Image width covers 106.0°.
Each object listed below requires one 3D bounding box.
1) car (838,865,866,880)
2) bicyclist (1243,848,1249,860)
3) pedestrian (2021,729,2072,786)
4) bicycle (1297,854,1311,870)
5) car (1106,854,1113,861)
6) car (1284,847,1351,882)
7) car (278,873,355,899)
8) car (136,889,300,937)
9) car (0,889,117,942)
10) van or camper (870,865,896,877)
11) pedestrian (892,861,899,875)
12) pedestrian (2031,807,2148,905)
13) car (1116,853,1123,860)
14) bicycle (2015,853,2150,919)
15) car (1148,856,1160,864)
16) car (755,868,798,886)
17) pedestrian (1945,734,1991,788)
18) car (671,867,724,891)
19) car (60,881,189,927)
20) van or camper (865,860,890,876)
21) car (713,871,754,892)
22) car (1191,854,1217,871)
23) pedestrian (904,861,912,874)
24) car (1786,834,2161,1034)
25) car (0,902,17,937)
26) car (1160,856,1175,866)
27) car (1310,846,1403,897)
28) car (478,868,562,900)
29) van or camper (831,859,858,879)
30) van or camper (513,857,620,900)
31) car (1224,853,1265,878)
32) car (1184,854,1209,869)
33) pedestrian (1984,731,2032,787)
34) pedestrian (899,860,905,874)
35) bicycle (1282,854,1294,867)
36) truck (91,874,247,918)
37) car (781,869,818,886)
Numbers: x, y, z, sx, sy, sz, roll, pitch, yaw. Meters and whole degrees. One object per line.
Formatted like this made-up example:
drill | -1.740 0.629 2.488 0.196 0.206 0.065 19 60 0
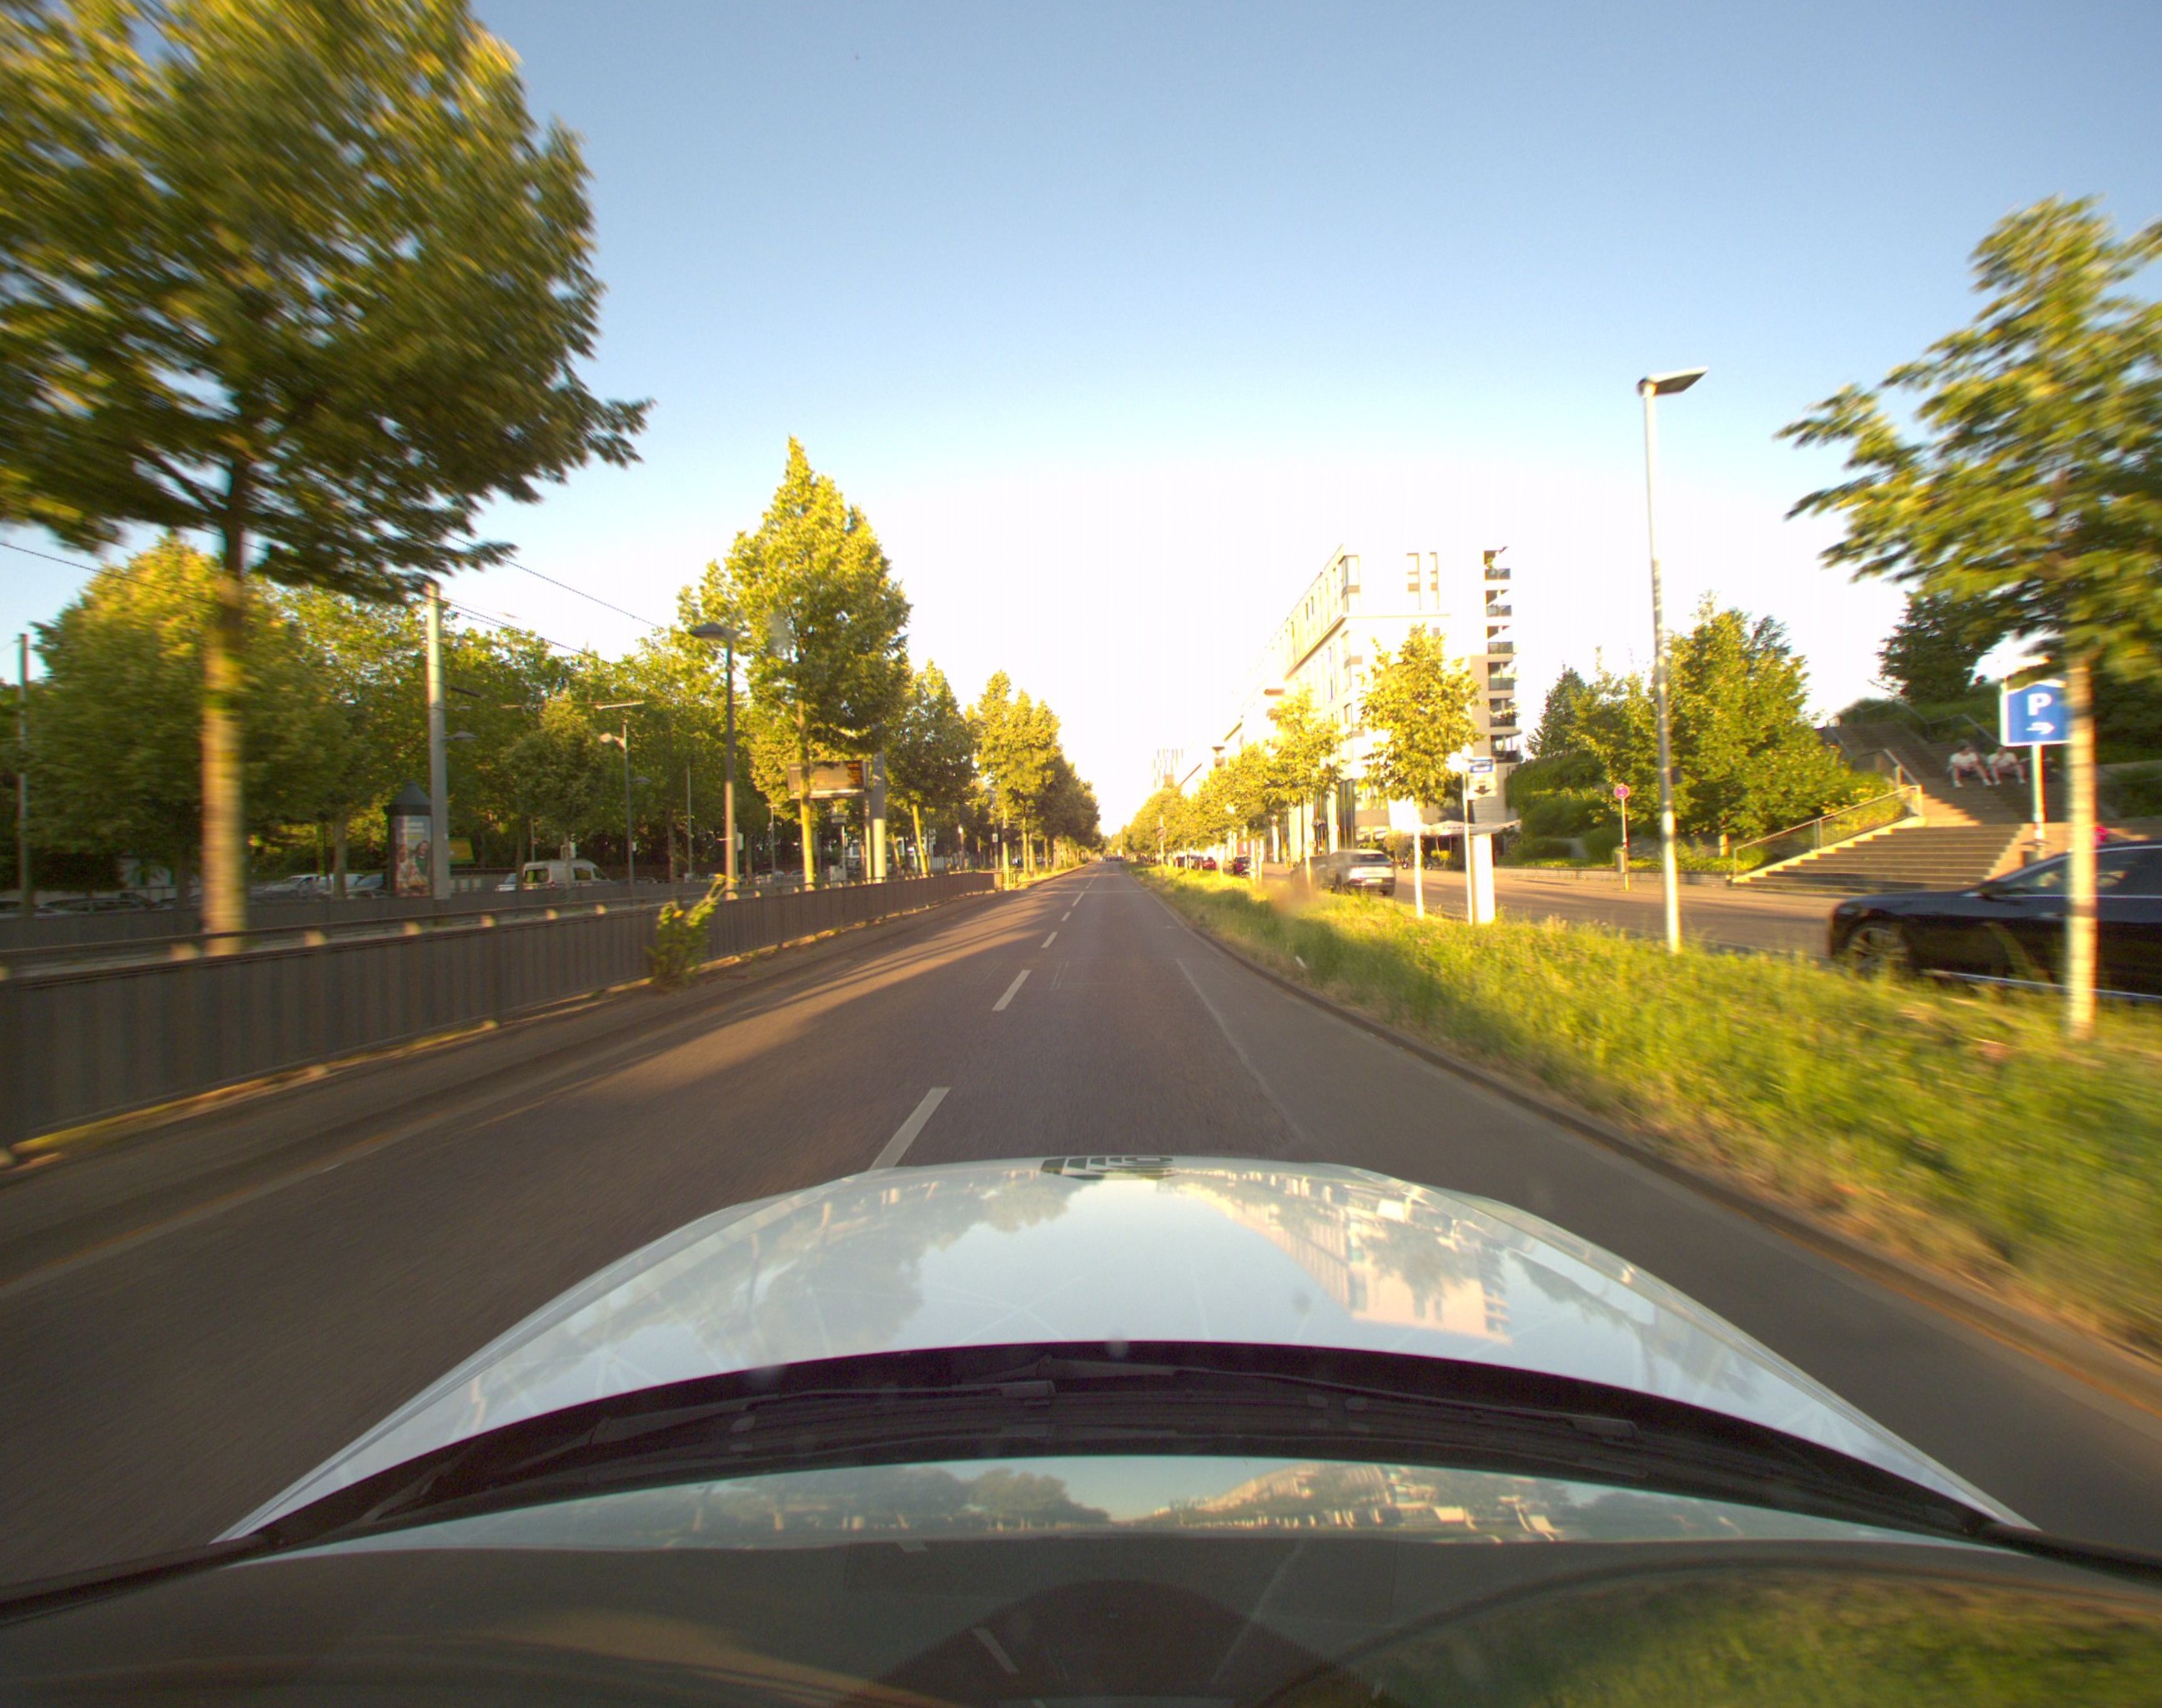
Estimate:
car | -27.455 2.206 97.756 1.793 1.560 3.845 -2 -1 7
bicyclist | 21.447 -0.032 105.750 0.542 1.568 1.021 -2 -1 5
pedestrian | 25.626 -2.545 21.627 0.661 1.381 0.832 0 0 33
bicycle | 18.323 0.661 66.880 0.615 1.231 1.670 -2 0 0
car | 8.452 0.942 241.977 2.080 2.013 4.001 -2 0 1
car | 9.928 0.418 34.436 1.743 1.398 4.001 -1 0 1
car | -58.618 2.433 62.553 1.986 1.750 4.002 -2 0 2
car | -32.755 2.192 31.098 1.802 1.531 4.057 -2 0 3
car | -33.477 1.941 25.223 1.985 1.500 4.303 -2 0 3
van or camper | -33.149 2.793 136.280 3.985 1.791 1.994 -2 0 -9
pedestrian | -24.067 1.782 105.814 0.692 1.759 0.864 -2 -1 -6
pedestrian | 17.798 0.029 14.404 0.692 1.654 1.079 -2 0 1
car | 11.291 0.769 240.504 1.986 2.013 4.001 -2 0 1
bicycle | 17.039 0.511 13.921 0.538 1.043 1.923 -2 -1 21
car | 15.032 1.325 168.436 1.937 1.549 4.811 -2 -1 0
car | -27.684 2.098 74.139 1.985 1.499 4.560 -2 -1 3
pedestrian | 24.342 -2.540 22.371 0.661 1.381 0.832 0 0 33
car | -29.243 1.858 62.191 1.985 1.640 4.003 -2 0 3
car | -46.223 2.396 39.413 3.969 2.013 2.002 -2 0 4
van or camper | -40.560 2.722 162.640 2.697 3.085 6.272 -1 0 6
car | -35.704 2.780 83.869 1.982 2.013 4.010 -2 0 9
car | 11.397 0.752 75.713 1.802 1.501 3.960 -2 0 1
pedestrian | -22.495 1.755 105.850 0.691 1.743 0.866 -2 -1 0
car | 9.119 0.586 6.762 1.912 1.501 5.412 -2 0 1
car | -42.171 2.534 30.078 1.534 1.312 3.102 -2 0 4
car | 13.213 1.012 124.556 1.802 1.501 4.826 -2 0 1
car | 9.707 0.590 29.106 1.802 1.632 4.677 -2 0 1
car | -39.248 2.043 57.149 1.984 2.013 5.066 -2 0 5
van or camper | -33.701 2.083 116.144 2.078 2.735 5.495 -2 -1 0
van or camper | -30.982 1.436 49.298 2.272 2.365 5.793 -2 0 7
car | 10.363 0.719 51.884 1.802 1.501 4.369 -2 0 1
car | 11.749 0.761 83.418 1.914 1.501 5.011 -2 0 1
pedestrian | 25.014 -2.552 21.988 0.661 1.381 0.832 -1 0 33
pedestrian | -23.350 1.721 106.317 0.692 1.870 0.864 -2 -1 -6
bicycle | 18.394 0.610 72.414 0.544 1.128 1.868 -3 0 0
truck | -40.770 1.827 36.583 1.984 1.690 4.299 -2 0 5
car | -27.495 2.254 79.769 1.892 1.499 4.309 -2 -1 3
